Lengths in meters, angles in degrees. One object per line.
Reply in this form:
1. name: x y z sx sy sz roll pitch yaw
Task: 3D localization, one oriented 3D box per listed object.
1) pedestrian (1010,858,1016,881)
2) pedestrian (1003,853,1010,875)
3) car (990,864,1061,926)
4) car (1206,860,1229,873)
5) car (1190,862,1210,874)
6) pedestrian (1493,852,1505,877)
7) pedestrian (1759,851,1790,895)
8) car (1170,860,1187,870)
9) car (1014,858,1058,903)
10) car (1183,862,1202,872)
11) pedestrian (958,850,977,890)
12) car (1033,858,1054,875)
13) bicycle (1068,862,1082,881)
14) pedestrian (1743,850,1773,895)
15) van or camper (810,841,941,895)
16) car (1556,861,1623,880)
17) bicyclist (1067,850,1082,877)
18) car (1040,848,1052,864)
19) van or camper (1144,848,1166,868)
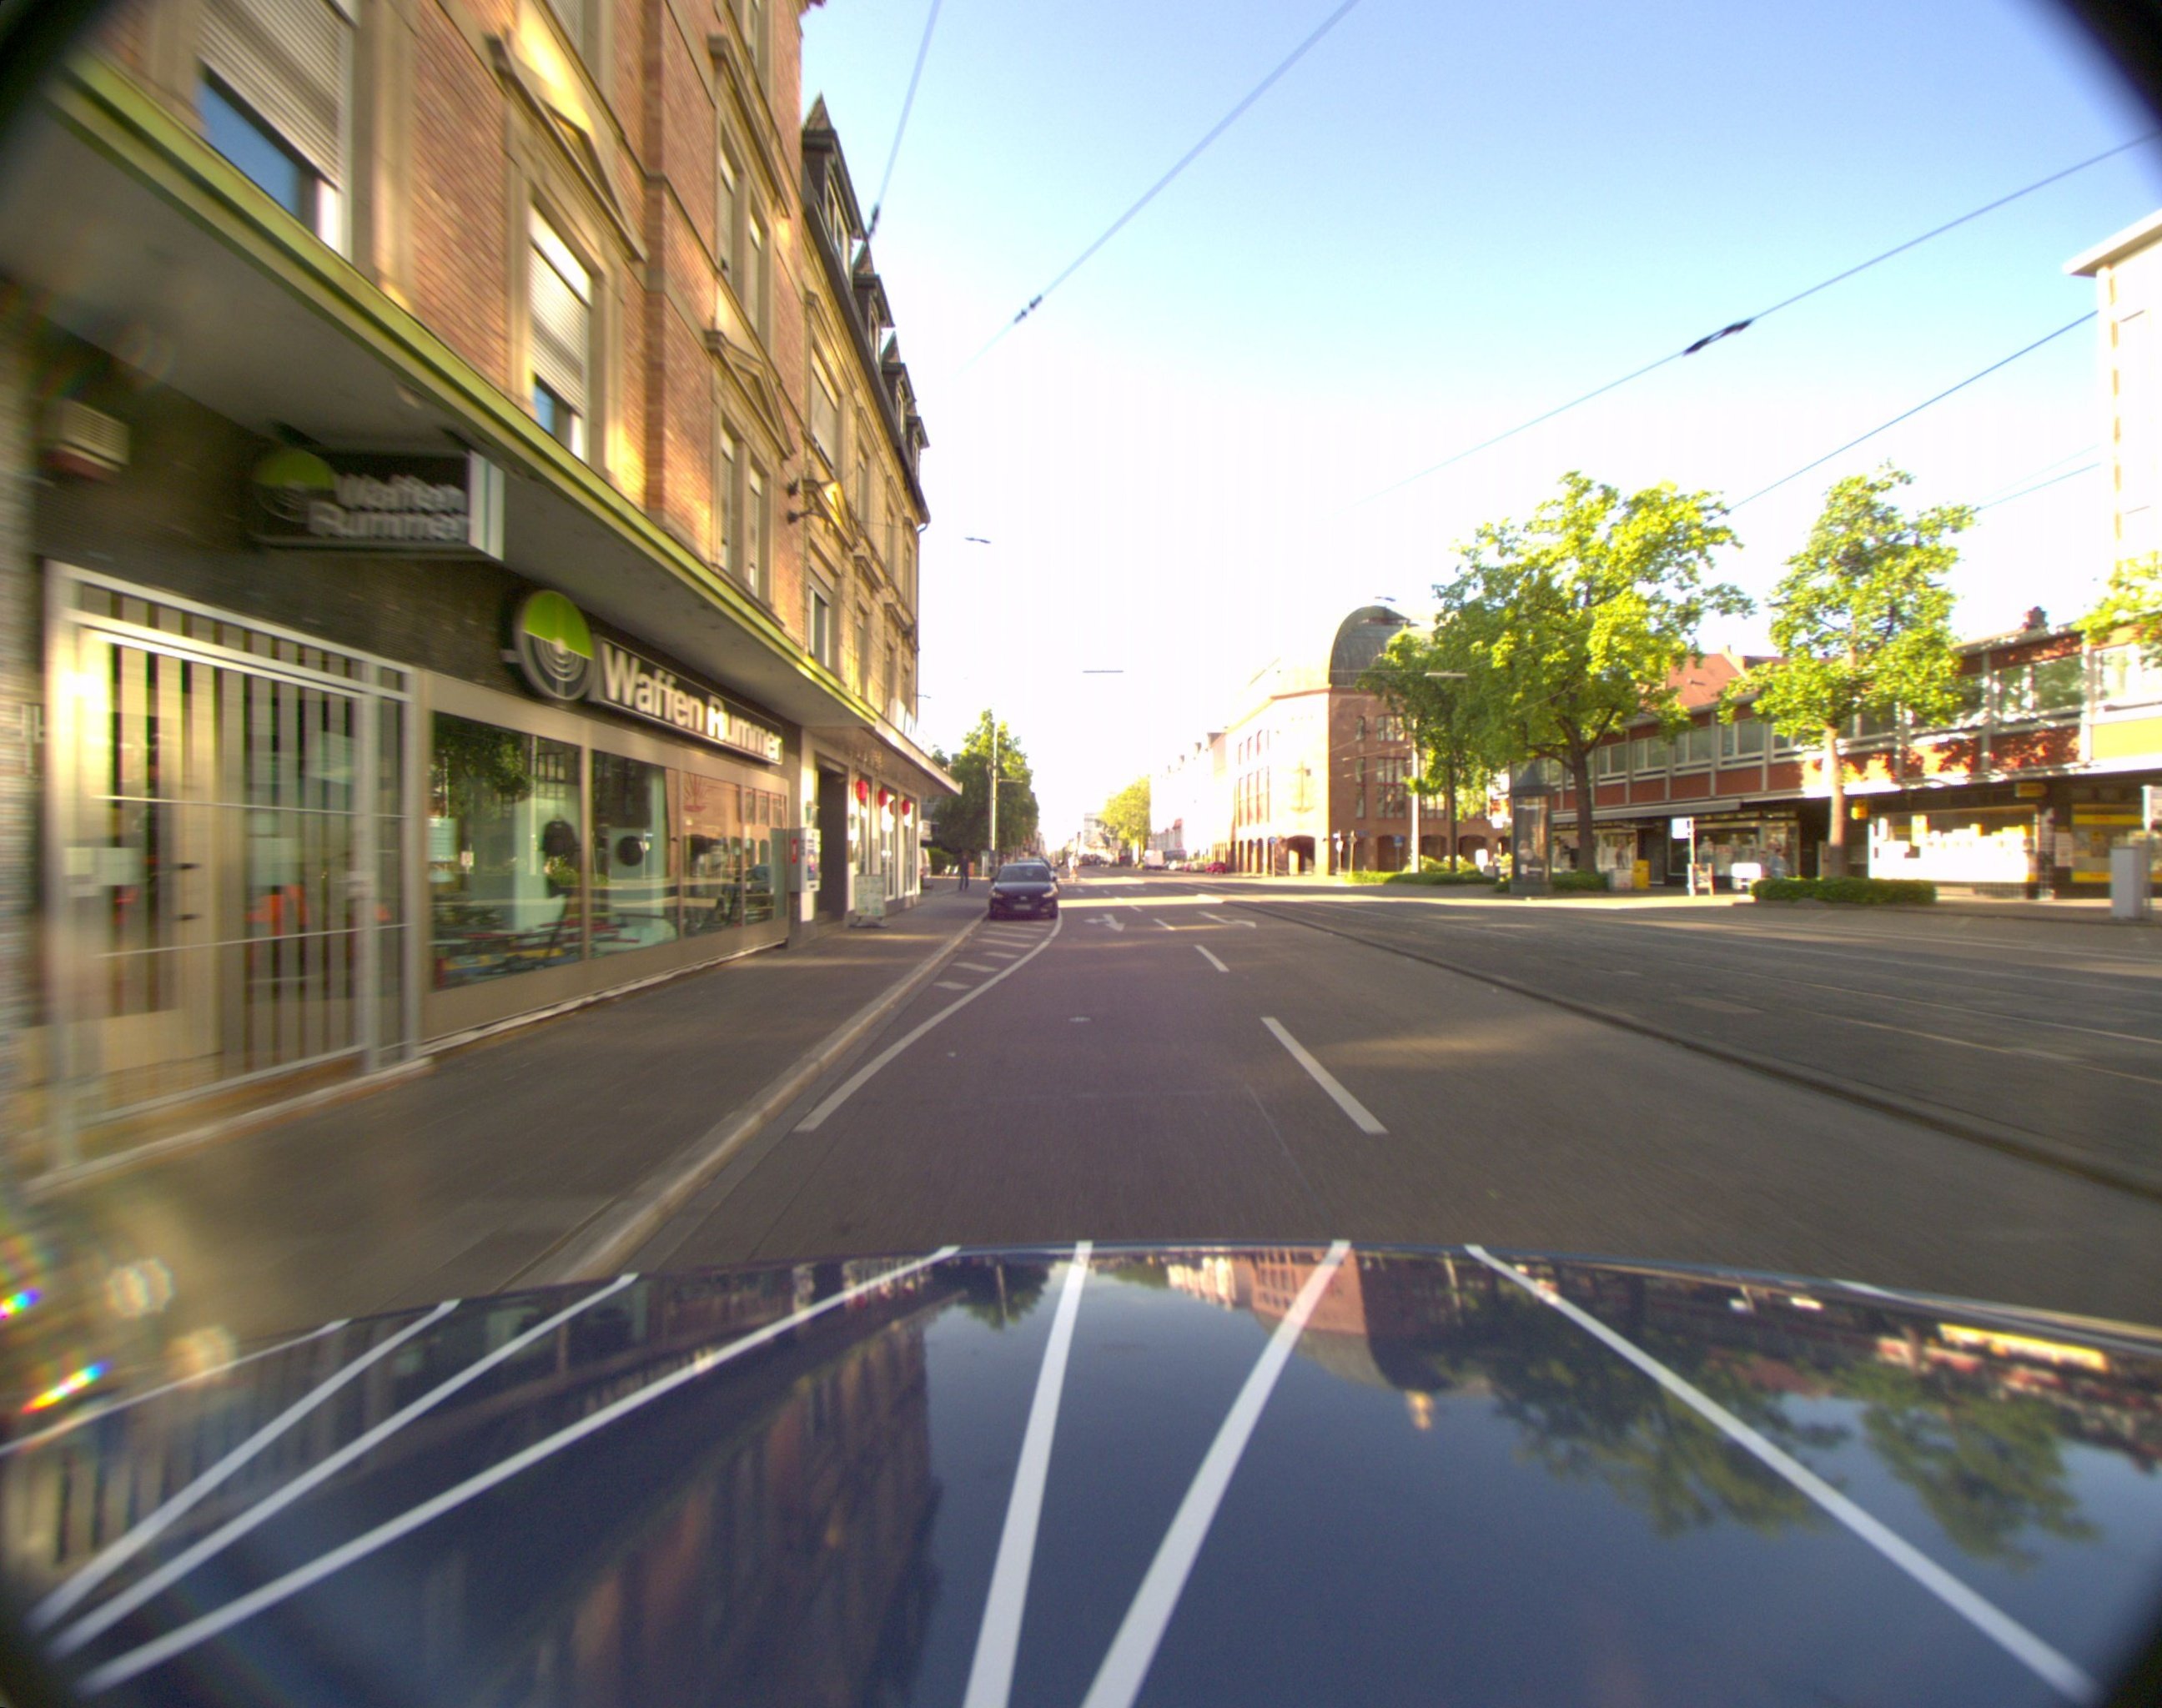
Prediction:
1. pedestrian: -6.140 1.379 68.670 0.508 2.002 0.574 -2 1 -2
2. pedestrian: -6.765 0.896 68.647 0.508 2.002 0.574 -2 1 -2
3. car: -1.457 1.046 20.971 1.695 1.442 4.359 -2 0 -2
4. car: 15.547 1.443 86.748 1.753 1.445 3.470 -1 0 -3
5. car: 15.075 1.768 96.596 1.856 1.445 3.852 -1 0 -2
6. pedestrian: 26.633 0.666 48.424 0.447 1.583 0.722 0 0 7
7. pedestrian: 27.459 0.749 30.078 0.574 1.740 0.706 0 0 -1
8. car: 14.431 1.575 112.882 1.856 1.445 3.852 -1 0 -2
9. car: -1.896 1.045 32.310 1.695 1.703 4.614 -2 0 -3
10. car: 14.826 1.719 101.519 1.856 1.346 3.852 -1 0 -2
11. pedestrian: -5.558 0.777 37.301 0.686 1.901 1.063 -2 1 1
12. car: -3.347 1.105 67.657 1.733 1.474 3.863 -2 0 -4
13. bicycle: -0.417 1.168 50.521 0.889 1.155 2.078 -2 1 -2
14. pedestrian: 26.781 0.732 30.068 0.574 1.761 0.706 0 0 -1
15. van or camper: -8.299 0.558 30.942 4.703 1.922 2.000 3 0 2
16. car: 40.542 1.307 60.655 4.276 1.521 1.998 1 0 -10
17. bicyclist: -0.437 0.620 50.408 0.895 1.755 1.030 -2 1 -2
18. car: -5.003 0.262 108.987 1.733 2.038 4.114 -2 1 -2
19. van or camper: 10.085 0.561 104.483 2.042 2.723 7.019 1 0 -2
